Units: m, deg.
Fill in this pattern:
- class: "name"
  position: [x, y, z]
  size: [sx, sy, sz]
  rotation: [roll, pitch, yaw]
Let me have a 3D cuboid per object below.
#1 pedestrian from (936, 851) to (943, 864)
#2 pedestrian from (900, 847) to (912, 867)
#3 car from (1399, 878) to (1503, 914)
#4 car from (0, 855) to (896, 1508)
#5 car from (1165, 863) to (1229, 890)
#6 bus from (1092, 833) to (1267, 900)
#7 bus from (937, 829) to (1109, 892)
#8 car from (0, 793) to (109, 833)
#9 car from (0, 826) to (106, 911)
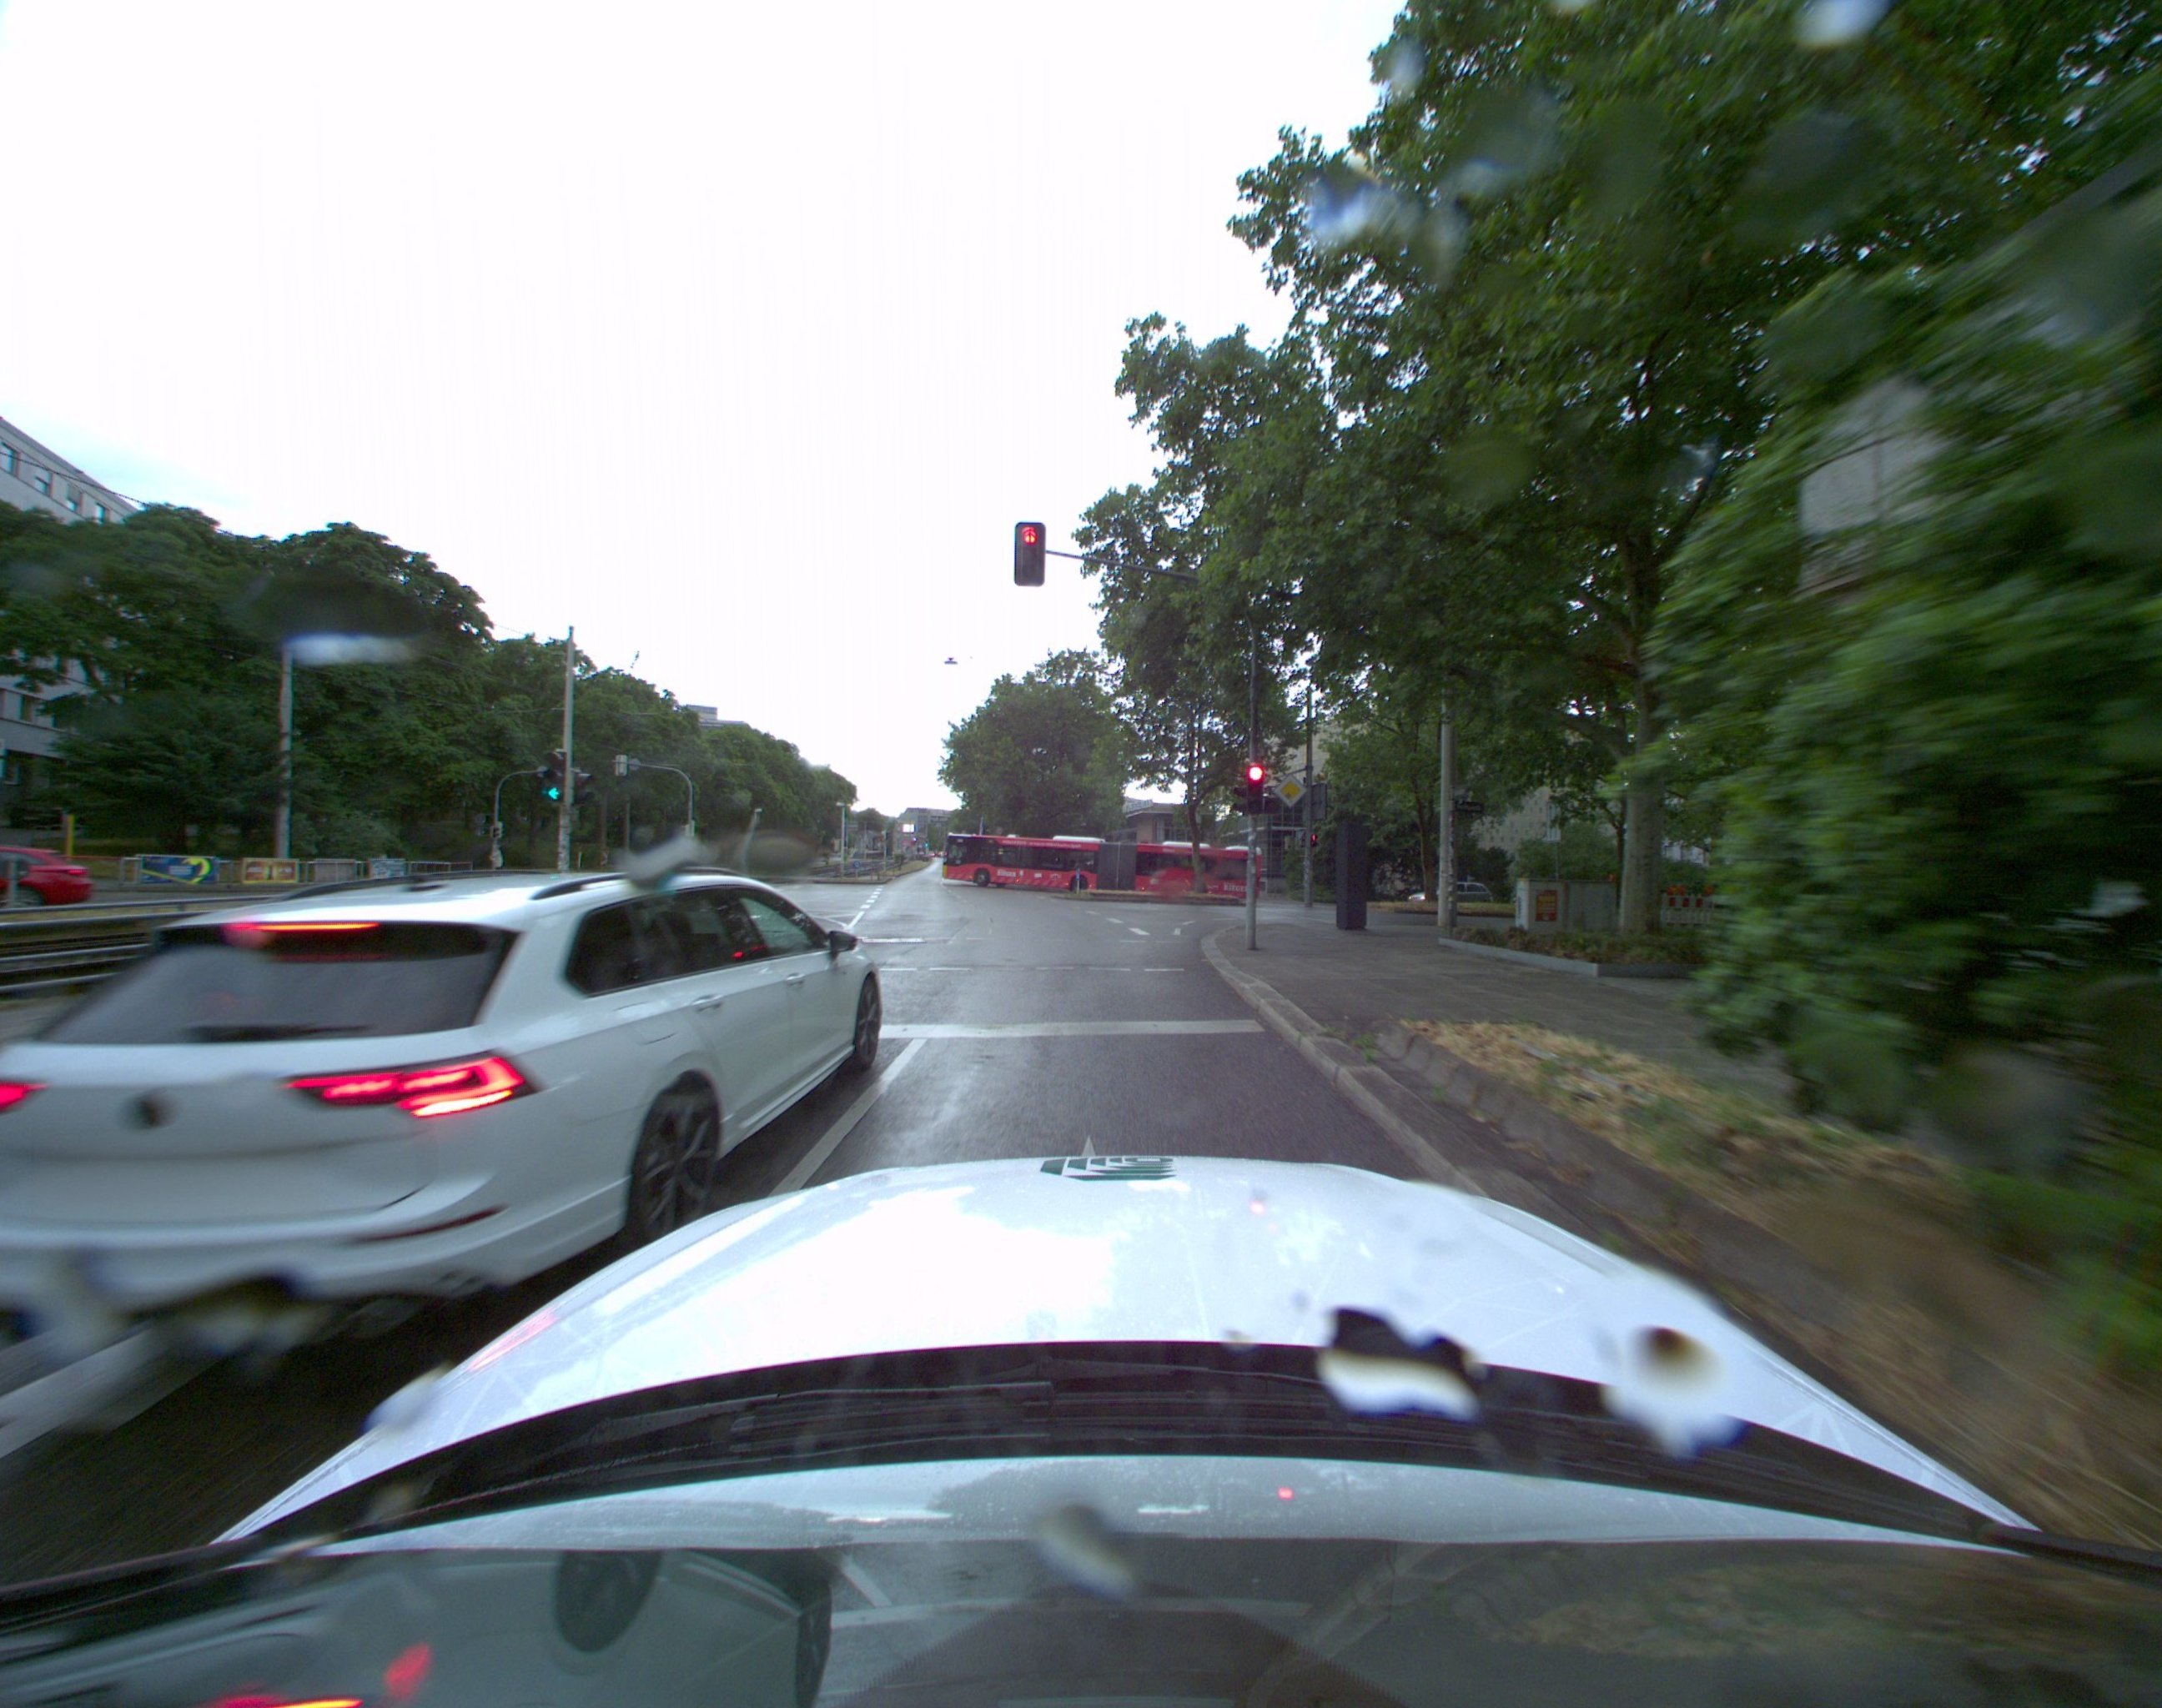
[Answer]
- class: "pedestrian"
  position: [-35.703, 0.938, 205.308]
  size: [1.351, 3.252, 0.982]
  rotation: [3, -1, -5]
- class: "pedestrian"
  position: [-14.339, 0.262, 66.787]
  size: [0.736, 1.640, 0.870]
  rotation: [3, -1, -2]
- class: "car"
  position: [17.395, 1.959, 38.380]
  size: [3.980, 1.442, 1.997]
  rotation: [3, -1, -5]
- class: "car"
  position: [-2.330, 0.810, 4.143]
  size: [1.673, 1.576, 4.254]
  rotation: [0, 0, 2]
- class: "car"
  position: [9.485, 1.845, 66.450]
  size: [4.762, 1.943, 1.986]
  rotation: [3, -1, -20]
- class: "bus"
  position: [5.237, 0.695, 44.393]
  size: [9.122, 3.111, 2.664]
  rotation: [3, -1, 1]
- class: "bus"
  position: [-3.310, 0.323, 46.256]
  size: [9.347, 3.111, 2.571]
  rotation: [2, -1, 20]
- class: "car"
  position: [-52.862, -2.058, 42.000]
  size: [2.005, 1.794, 4.172]
  rotation: [3, -1, -28]
- class: "car"
  position: [-22.096, 0.234, 15.295]
  size: [1.962, 1.640, 4.442]
  rotation: [1, -1, 26]
